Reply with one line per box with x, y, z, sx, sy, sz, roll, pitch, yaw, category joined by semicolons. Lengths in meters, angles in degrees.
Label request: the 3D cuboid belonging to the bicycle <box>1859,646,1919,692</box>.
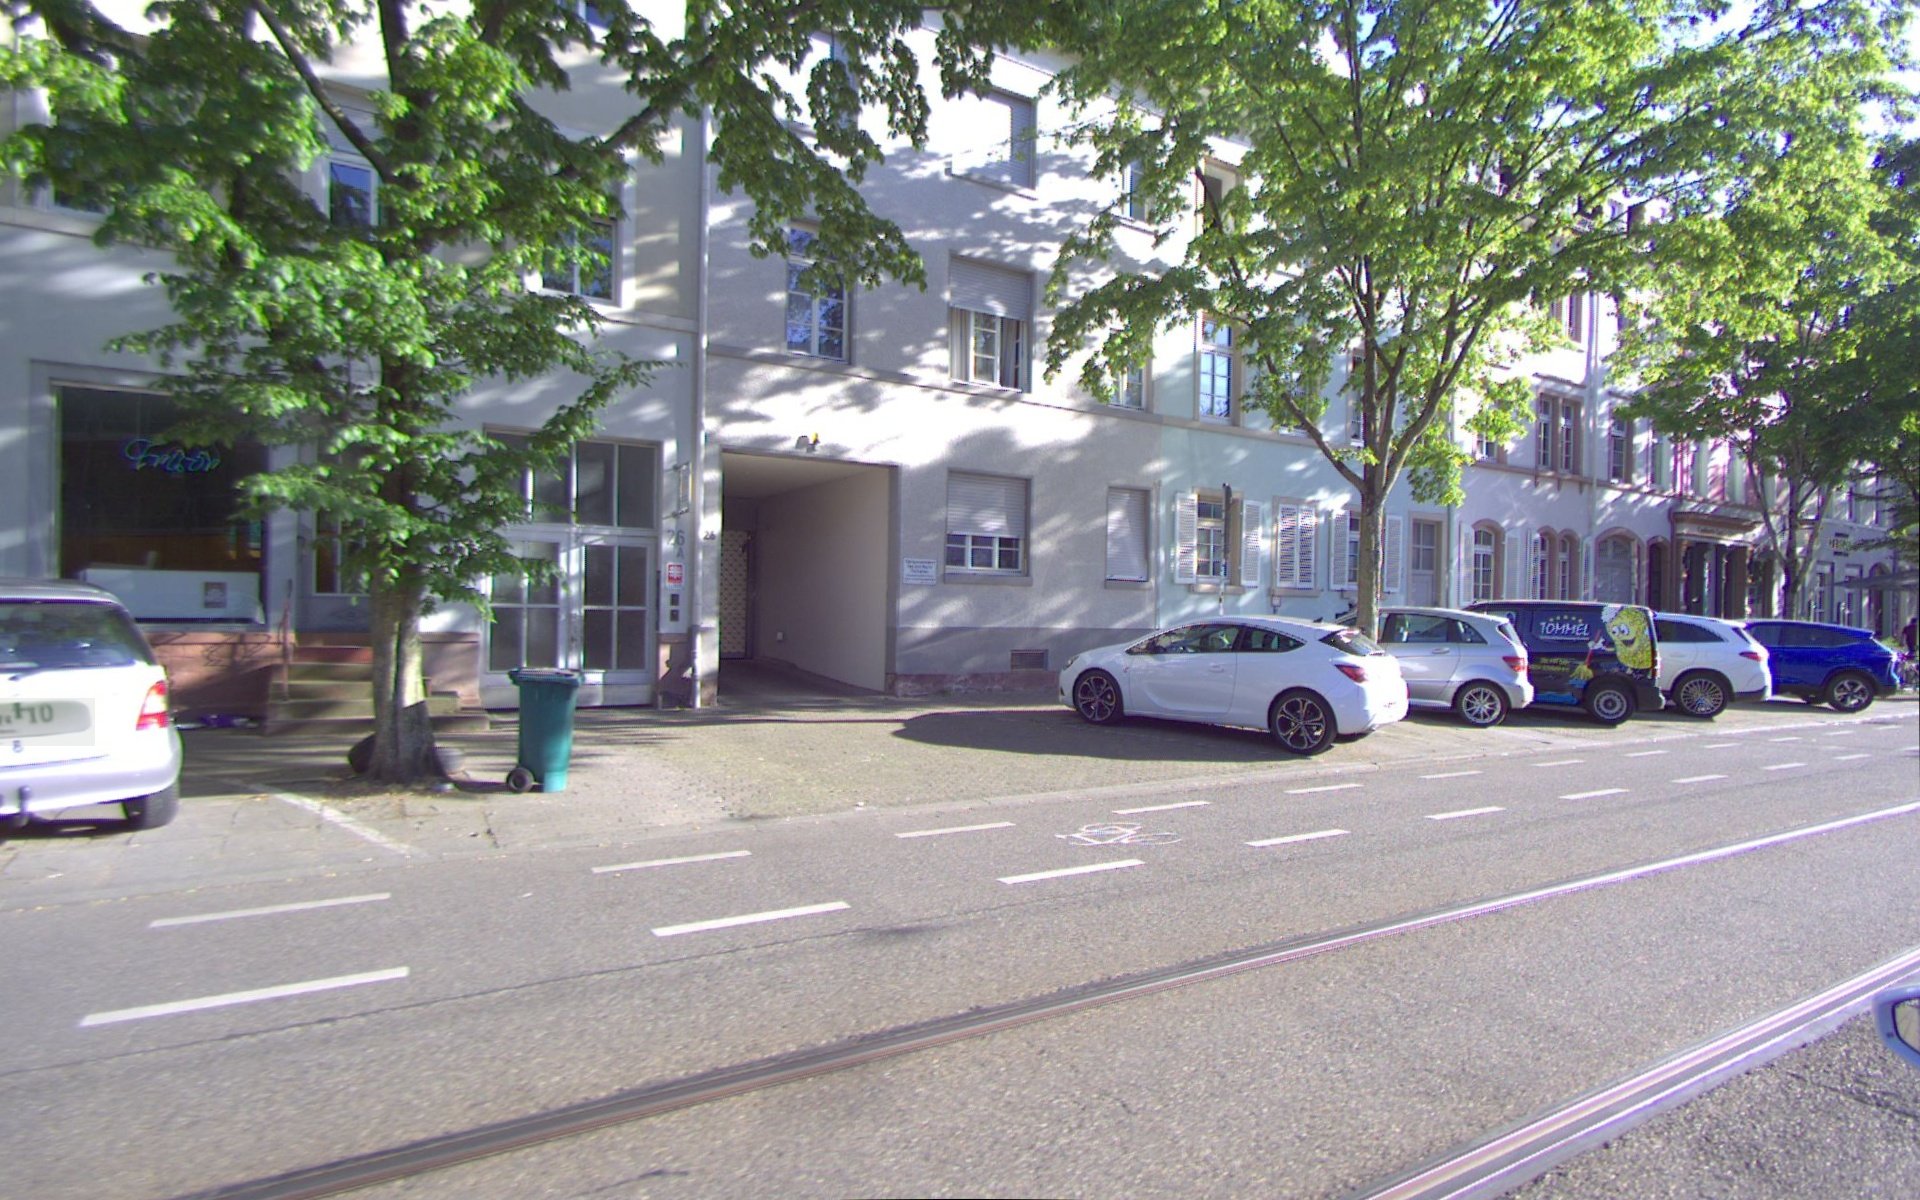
22.014;1.615;23.371;0.386;1.001;1.585;1;1;-41;bicycle

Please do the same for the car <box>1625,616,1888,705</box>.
15.734;1.151;20.093;3.827;1.630;1.573;0;-1;23;car

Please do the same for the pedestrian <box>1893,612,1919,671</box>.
33.189;1.447;35.103;0.550;2.040;0.728;1;0;-29;pedestrian

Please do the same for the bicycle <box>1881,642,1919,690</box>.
23.505;1.627;24.109;0.561;1.094;1.959;1;2;-28;bicycle

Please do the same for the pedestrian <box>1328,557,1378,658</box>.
7.446;0.145;19.030;0.617;1.862;0.640;1;-1;-29;pedestrian

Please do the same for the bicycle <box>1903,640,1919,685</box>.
24.666;1.642;24.722;0.560;1.102;1.994;1;4;-28;bicycle

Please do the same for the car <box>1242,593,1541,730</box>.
6.550;0.821;15.363;3.928;1.679;1.807;3;2;30;car

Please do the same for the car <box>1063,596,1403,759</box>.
3.341;0.845;12.563;3.592;1.550;1.878;4;1;40;car

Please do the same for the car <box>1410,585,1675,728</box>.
9.171;0.833;16.085;3.382;1.867;1.731;4;0;28;car

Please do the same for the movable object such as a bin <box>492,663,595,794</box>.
-3.353;1.003;8.074;0.663;0.957;0.618;1;0;-32;movable object such as a bin

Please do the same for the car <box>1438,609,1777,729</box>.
11.367;1.134;18.119;4.850;1.818;2.206;1;0;28;car

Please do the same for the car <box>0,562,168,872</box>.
-6.840;0.603;6.664;3.939;1.699;1.695;1;0;40;car
